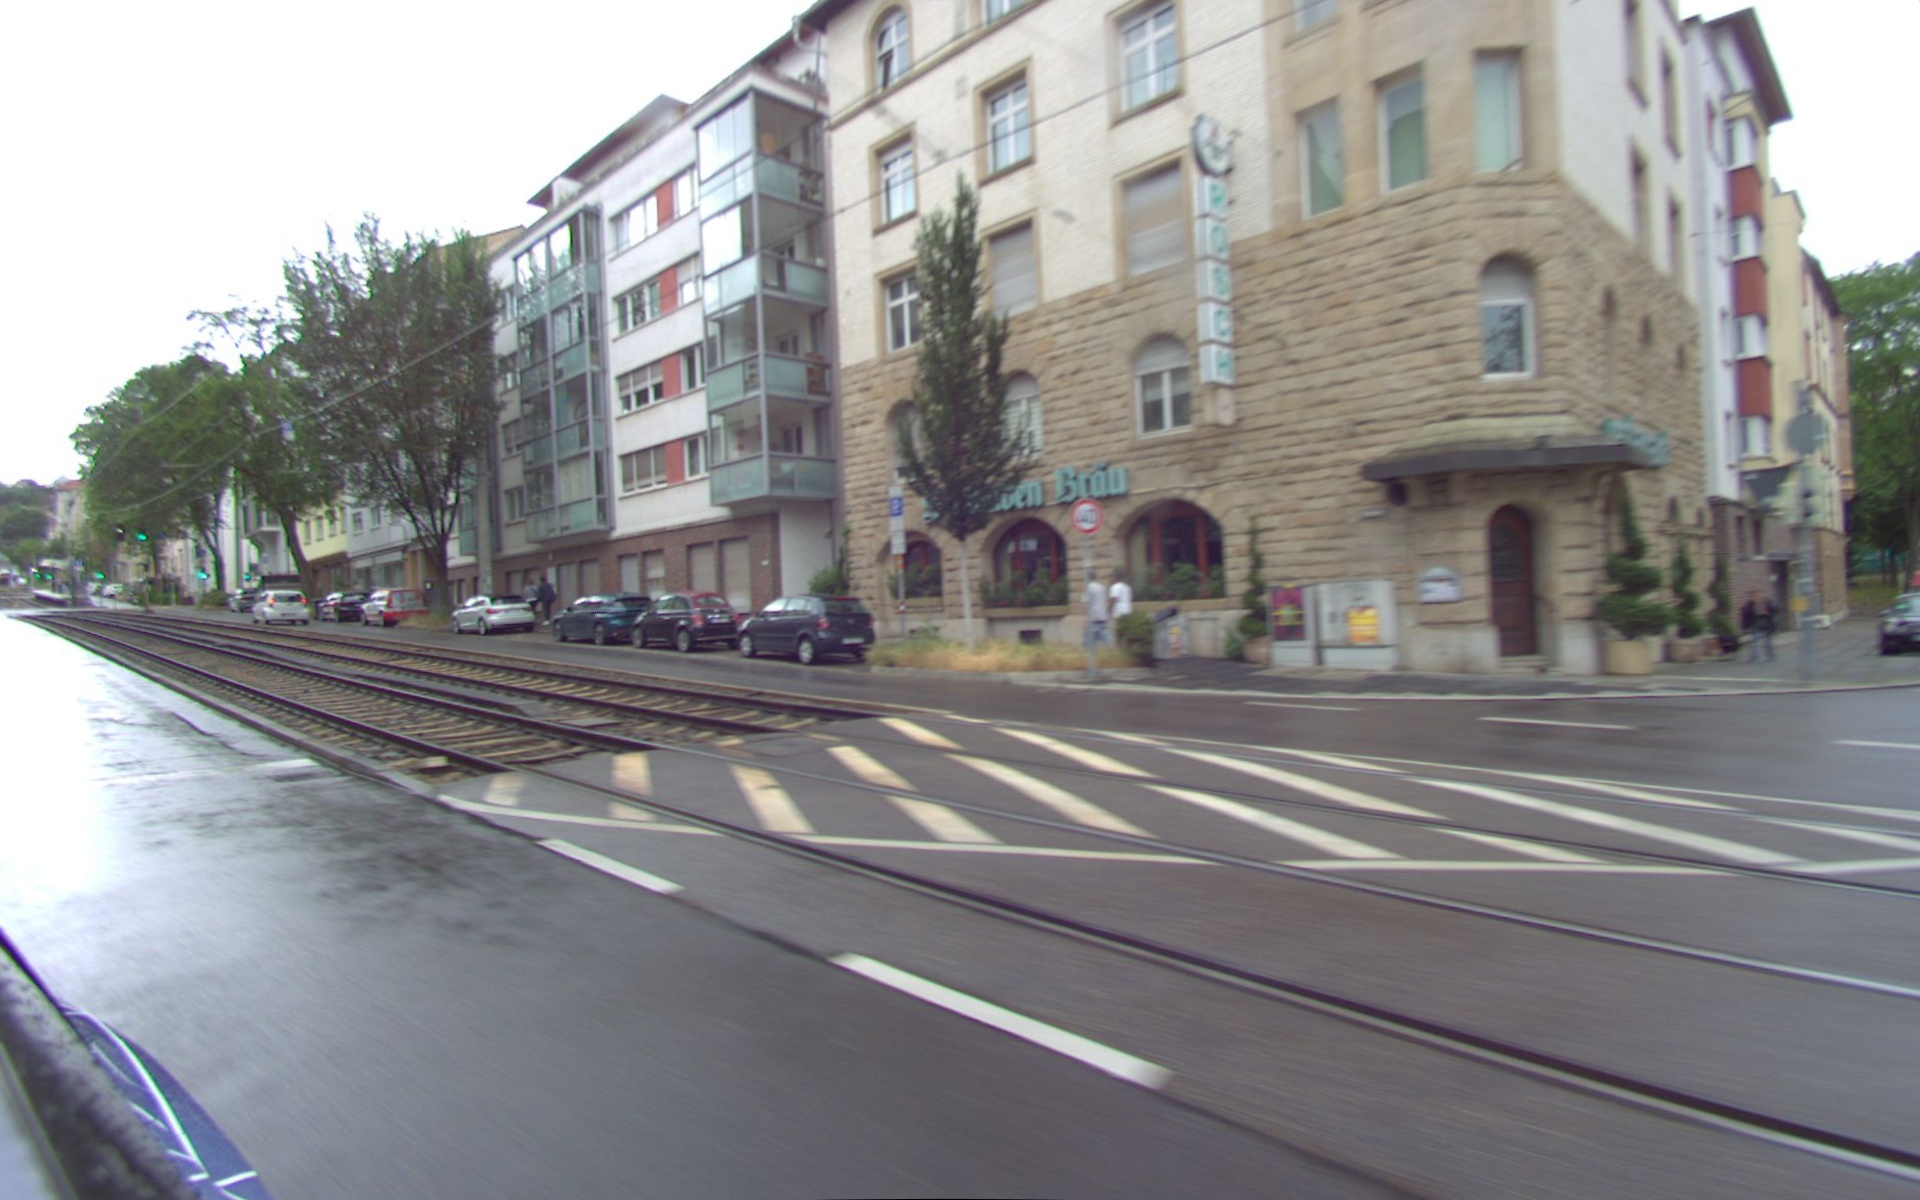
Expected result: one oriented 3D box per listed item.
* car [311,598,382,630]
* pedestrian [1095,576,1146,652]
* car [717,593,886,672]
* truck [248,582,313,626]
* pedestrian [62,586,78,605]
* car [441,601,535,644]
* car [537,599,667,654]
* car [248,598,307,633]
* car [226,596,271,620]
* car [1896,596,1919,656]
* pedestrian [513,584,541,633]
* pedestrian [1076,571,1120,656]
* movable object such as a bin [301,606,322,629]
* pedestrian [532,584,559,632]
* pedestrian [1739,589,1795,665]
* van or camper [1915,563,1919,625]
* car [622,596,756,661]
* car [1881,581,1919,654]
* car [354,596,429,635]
[{"bbox_3d":[-29.664,0.632,48.879,4.471,1.451,1.885,0,1,44],"label":"car"},{"bbox_3d":[3.107,0.252,19.613,0.745,1.432,0.646,-1,1,-44],"label":"pedestrian"},{"bbox_3d":[-3.581,0.665,22.491,3.897,1.564,1.745,0,1,45],"label":"car"},{"bbox_3d":[-39.644,0.152,58.964,2.166,2.363,6.359,0,1,-43],"label":"truck"},{"bbox_3d":[-87.938,-0.461,99.952,0.966,1.796,1.104,0,1,45],"label":"pedestrian"},{"bbox_3d":[-16.652,0.746,35.628,1.683,1.345,4.133,-4,3,-44],"label":"car"},{"bbox_3d":[-10.406,0.737,29.231,4.432,1.466,1.780,-1,0,44],"label":"car"},{"bbox_3d":[-30.558,0.674,45.271,1.608,1.493,3.584,-1,1,-44],"label":"car"},{"bbox_3d":[-46.578,0.475,66.192,1.685,1.471,4.363,-3,2,-45],"label":"car"},{"bbox_3d":[25.588,0.636,26.186,3.941,1.493,1.819,0,-1,-44],"label":"car"},{"bbox_3d":[-15.993,0.295,37.385,0.665,1.785,0.783,-1,1,-45],"label":"pedestrian"},{"bbox_3d":[2.593,0.246,19.088,0.511,1.582,0.644,0,0,-43],"label":"pedestrian"},{"bbox_3d":[-32.601,0.863,50.872,0.671,1.130,0.717,0,0,40],"label":"movable object such as a bin"},{"bbox_3d":[-15.519,0.292,37.889,0.665,1.785,0.783,-1,1,-45],"label":"pedestrian"},{"bbox_3d":[15.641,0.505,19.607,0.807,1.426,0.722,0,1,-42],"label":"pedestrian"},{"bbox_3d":[41.283,-0.292,42.246,1.937,2.497,4.676,-1,0,44],"label":"van or camper"},{"bbox_3d":[-6.993,0.670,25.964,3.527,1.509,1.787,0,2,44],"label":"car"},{"bbox_3d":[21.402,0.357,22.140,1.719,1.503,3.945,-1,-1,41],"label":"car"},{"bbox_3d":[-24.623,0.631,43.781,4.160,1.581,1.756,0,1,44],"label":"car"}]
